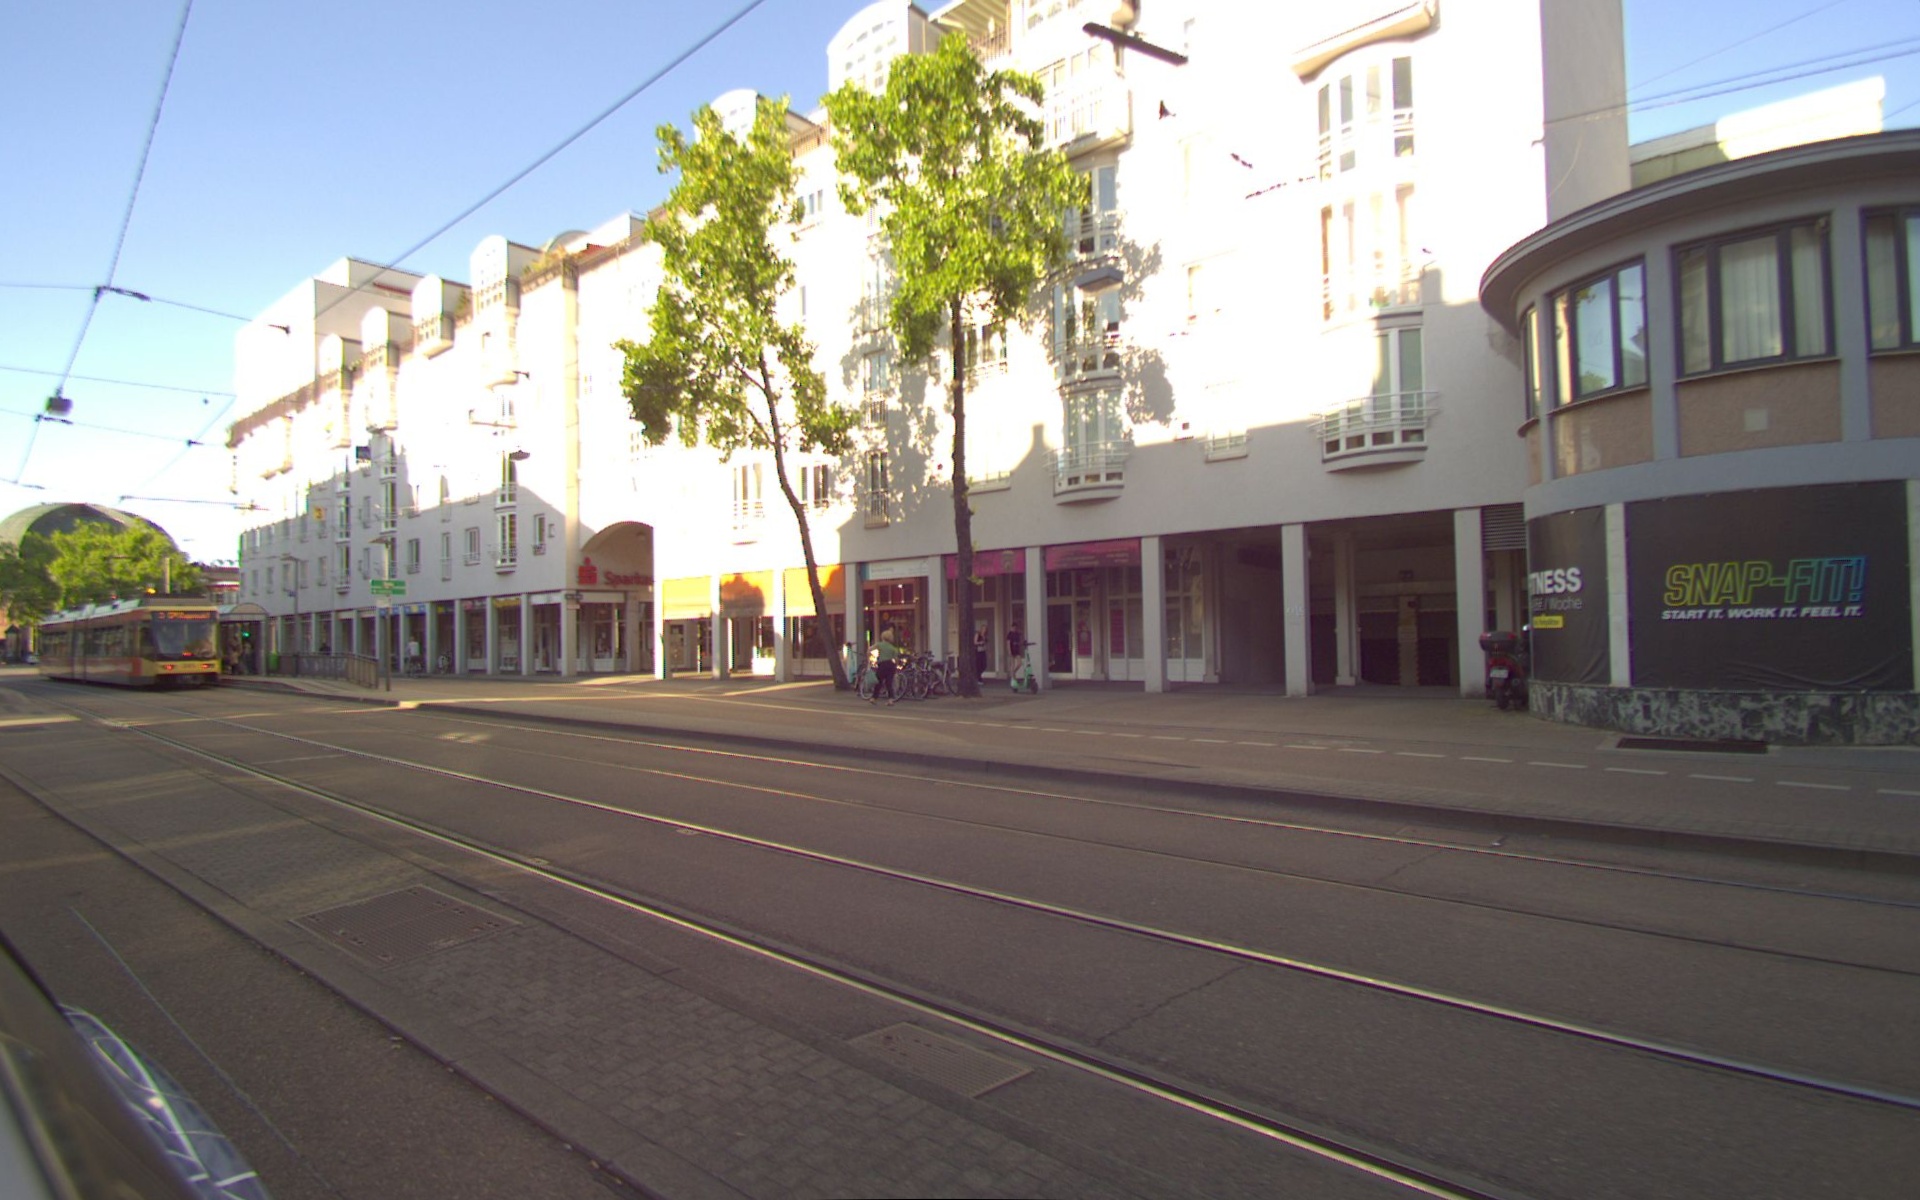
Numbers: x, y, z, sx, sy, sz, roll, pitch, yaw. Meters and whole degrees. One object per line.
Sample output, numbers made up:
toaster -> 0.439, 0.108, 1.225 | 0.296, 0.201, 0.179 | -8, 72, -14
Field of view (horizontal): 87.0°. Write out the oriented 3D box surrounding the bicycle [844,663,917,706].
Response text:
bicycle -> -1.933, 2.063, 24.804 | 1.821, 0.919, 0.390 | -2, -1, -36

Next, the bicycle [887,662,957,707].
bicycle -> -0.883, 1.975, 23.918 | 1.823, 0.919, 0.390 | -1, -2, -44

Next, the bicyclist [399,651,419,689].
bicyclist -> -25.550, 3.225, 46.933 | 0.807, 1.713, 0.508 | -3, -1, 42

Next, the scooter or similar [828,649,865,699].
scooter or similar -> -3.043, 1.965, 27.016 | 0.372, 1.288, 1.182 | -3, -1, -37

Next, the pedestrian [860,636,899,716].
pedestrian -> -1.785, 1.659, 22.313 | 0.621, 1.729, 0.827 | 0, -2, -21

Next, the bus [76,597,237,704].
bus -> -31.831, 1.996, 39.730 | 13.675, 3.595, 2.781 | -3, -3, 42

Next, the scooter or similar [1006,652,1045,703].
scooter or similar -> 1.502, 1.751, 23.196 | 0.330, 1.120, 1.183 | 0, -2, -26

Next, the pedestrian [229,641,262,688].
pedestrian -> -28.650, 2.575, 40.582 | 0.977, 1.847, 0.906 | -3, -3, 43

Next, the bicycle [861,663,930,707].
bicycle -> -1.540, 2.040, 24.509 | 1.823, 0.919, 0.390 | -1, -1, -44

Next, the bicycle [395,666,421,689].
bicycle -> -25.664, 3.592, 47.045 | 1.726, 0.996, 0.511 | -3, -1, 42

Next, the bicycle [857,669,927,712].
bicycle -> -1.566, 2.040, 22.973 | 1.851, 0.919, 0.384 | -3, -1, 42

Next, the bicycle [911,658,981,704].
bicycle -> -0.306, 1.857, 23.436 | 1.823, 0.919, 0.390 | -1, -1, -44

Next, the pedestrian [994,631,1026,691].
pedestrian -> 1.368, 1.654, 27.492 | 0.632, 1.588, 0.553 | -3, -3, 43

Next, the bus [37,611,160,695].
bus -> -41.684, 2.552, 48.713 | 13.675, 3.595, 2.781 | -3, -3, 42

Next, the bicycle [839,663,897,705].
bicycle -> -2.350, 2.144, 26.043 | 0.418, 0.919, 1.755 | -3, -1, 36

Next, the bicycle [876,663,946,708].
bicycle -> -1.160, 2.023, 24.218 | 1.823, 0.919, 0.390 | -1, -1, -44

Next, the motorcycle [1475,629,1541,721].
motorcycle -> 8.614, 1.140, 15.874 | 0.561, 1.288, 1.738 | -4, -1, 38

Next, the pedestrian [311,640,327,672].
pedestrian -> -34.266, 2.988, 54.107 | 0.706, 1.729, 0.526 | -3, -3, 43

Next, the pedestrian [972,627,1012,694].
pedestrian -> 0.857, 1.608, 27.057 | 0.825, 1.729, 0.623 | -3, -3, 43
